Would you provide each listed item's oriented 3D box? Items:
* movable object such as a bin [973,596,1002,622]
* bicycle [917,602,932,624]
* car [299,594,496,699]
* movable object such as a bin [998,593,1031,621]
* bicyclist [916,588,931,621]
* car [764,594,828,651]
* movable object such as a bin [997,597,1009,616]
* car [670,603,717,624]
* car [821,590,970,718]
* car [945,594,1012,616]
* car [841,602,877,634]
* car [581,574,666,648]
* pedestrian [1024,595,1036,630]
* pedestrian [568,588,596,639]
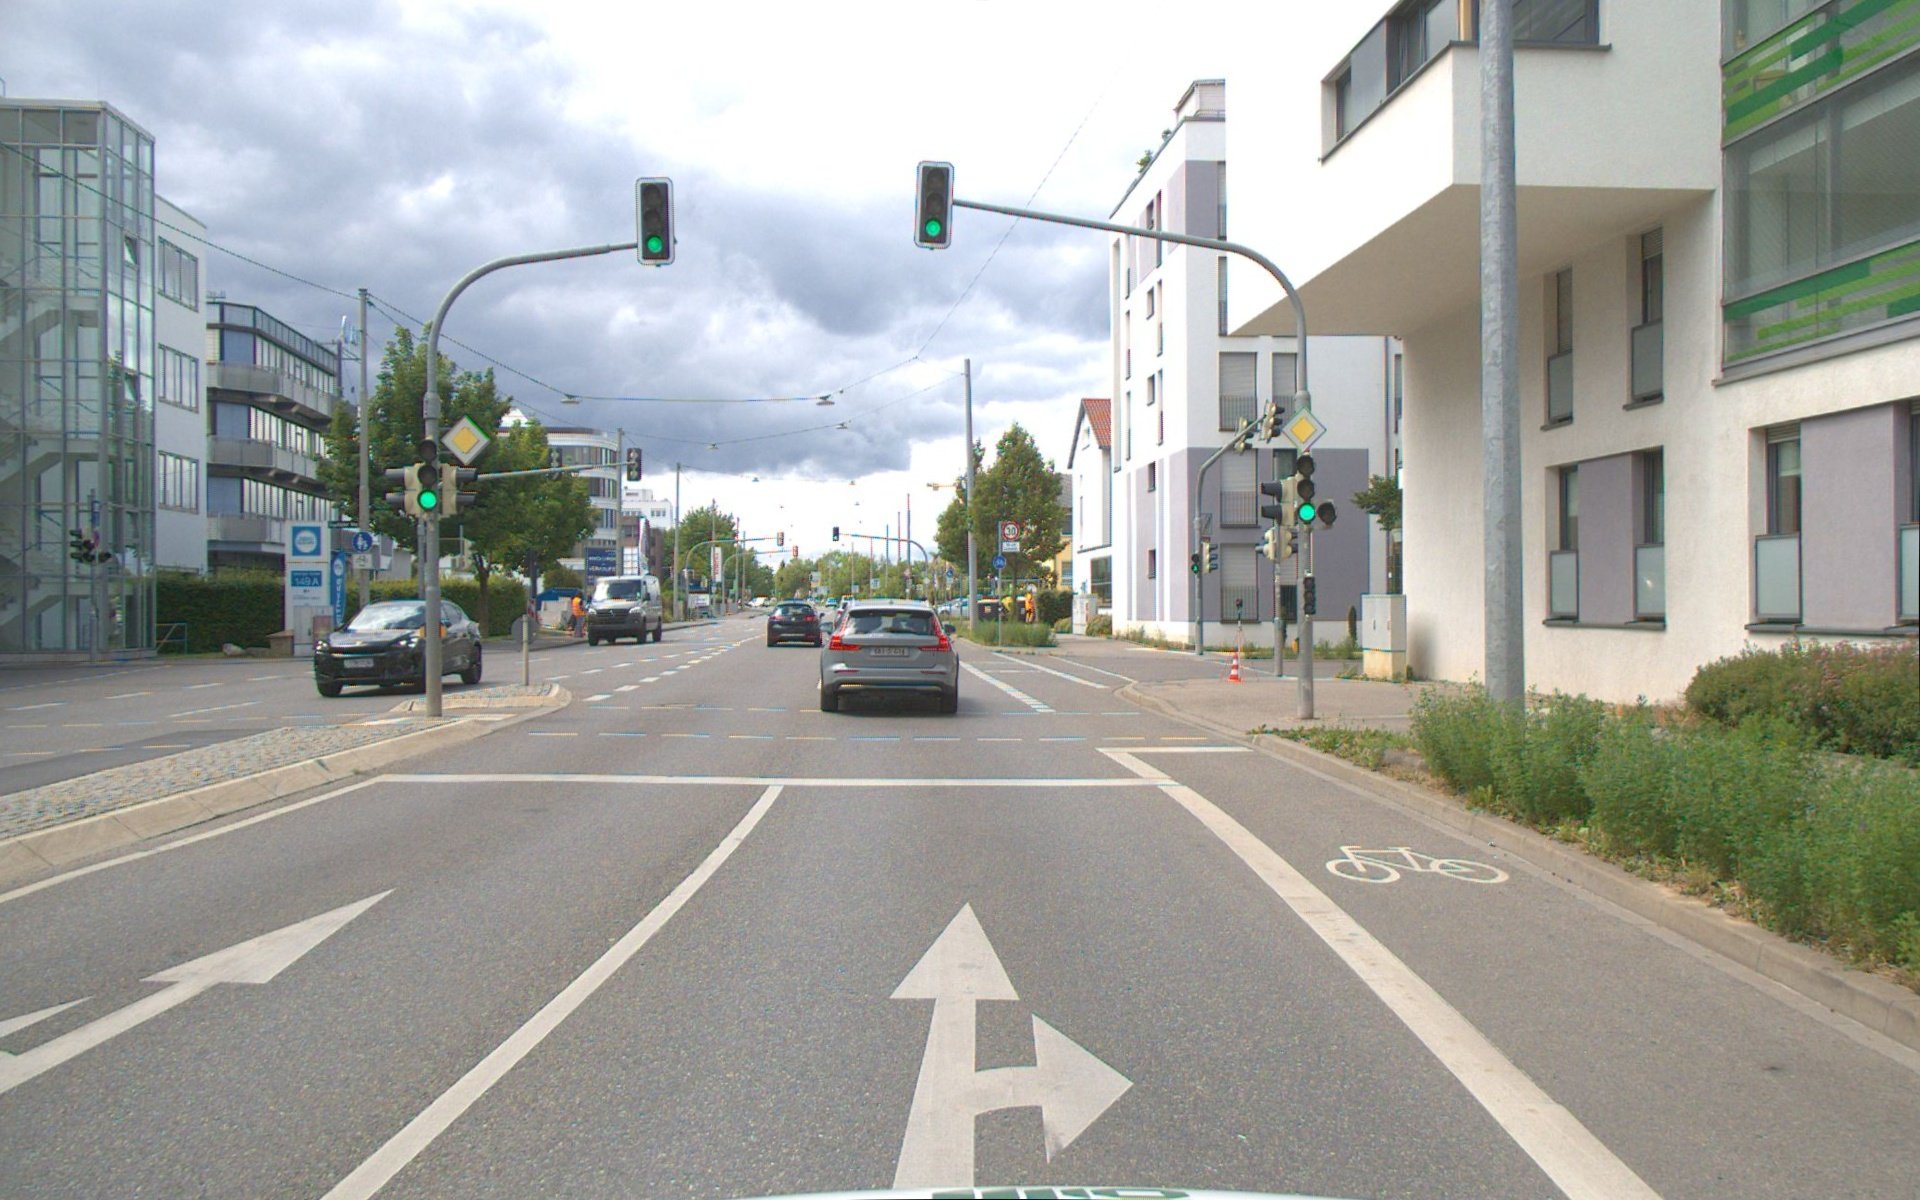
[{"bbox_3d":[1.484,0.495,88.228,1.291,1.385,1.252,-1,-1,12],"label":"movable object such as a bin"},{"bbox_3d":[-1.889,0.691,87.798,0.625,1.081,1.976,-4,0,-3],"label":"bicycle"},{"bbox_3d":[-9.412,0.758,28.072,1.847,1.579,4.538,-2,-1,-1],"label":"car"},{"bbox_3d":[2.926,0.364,88.584,1.295,1.460,1.248,-2,-2,33],"label":"movable object such as a bin"},{"bbox_3d":[-1.941,0.250,88.040,0.625,1.704,0.889,-4,0,-4],"label":"bicyclist"},{"bbox_3d":[-5.330,0.734,53.826,1.955,1.747,3.995,1,-1,-6],"label":"car"},{"bbox_3d":[2.315,0.359,89.211,0.556,1.044,0.404,-2,-2,33],"label":"movable object such as a bin"},{"bbox_3d":[-23.612,1.204,146.505,4.022,1.421,1.903,-7,2,-11],"label":"car"},{"bbox_3d":[-0.944,0.711,23.009,1.858,1.581,3.997,1,-1,-4],"label":"car"},{"bbox_3d":[1.293,0.328,117.337,4.604,1.519,2.044,0,0,-5],"label":"car"},{"bbox_3d":[-5.732,0.997,93.434,1.954,1.724,3.996,1,-1,-4],"label":"car"},{"bbox_3d":[-12.366,0.394,61.100,2.100,2.515,6.069,-2,0,-3],"label":"car"},{"bbox_3d":[3.672,0.656,86.929,0.496,1.796,0.501,1,-1,13],"label":"pedestrian"},{"bbox_3d":[-15.345,0.560,67.126,0.712,2.049,0.806,0,-1,39],"label":"pedestrian"}]
